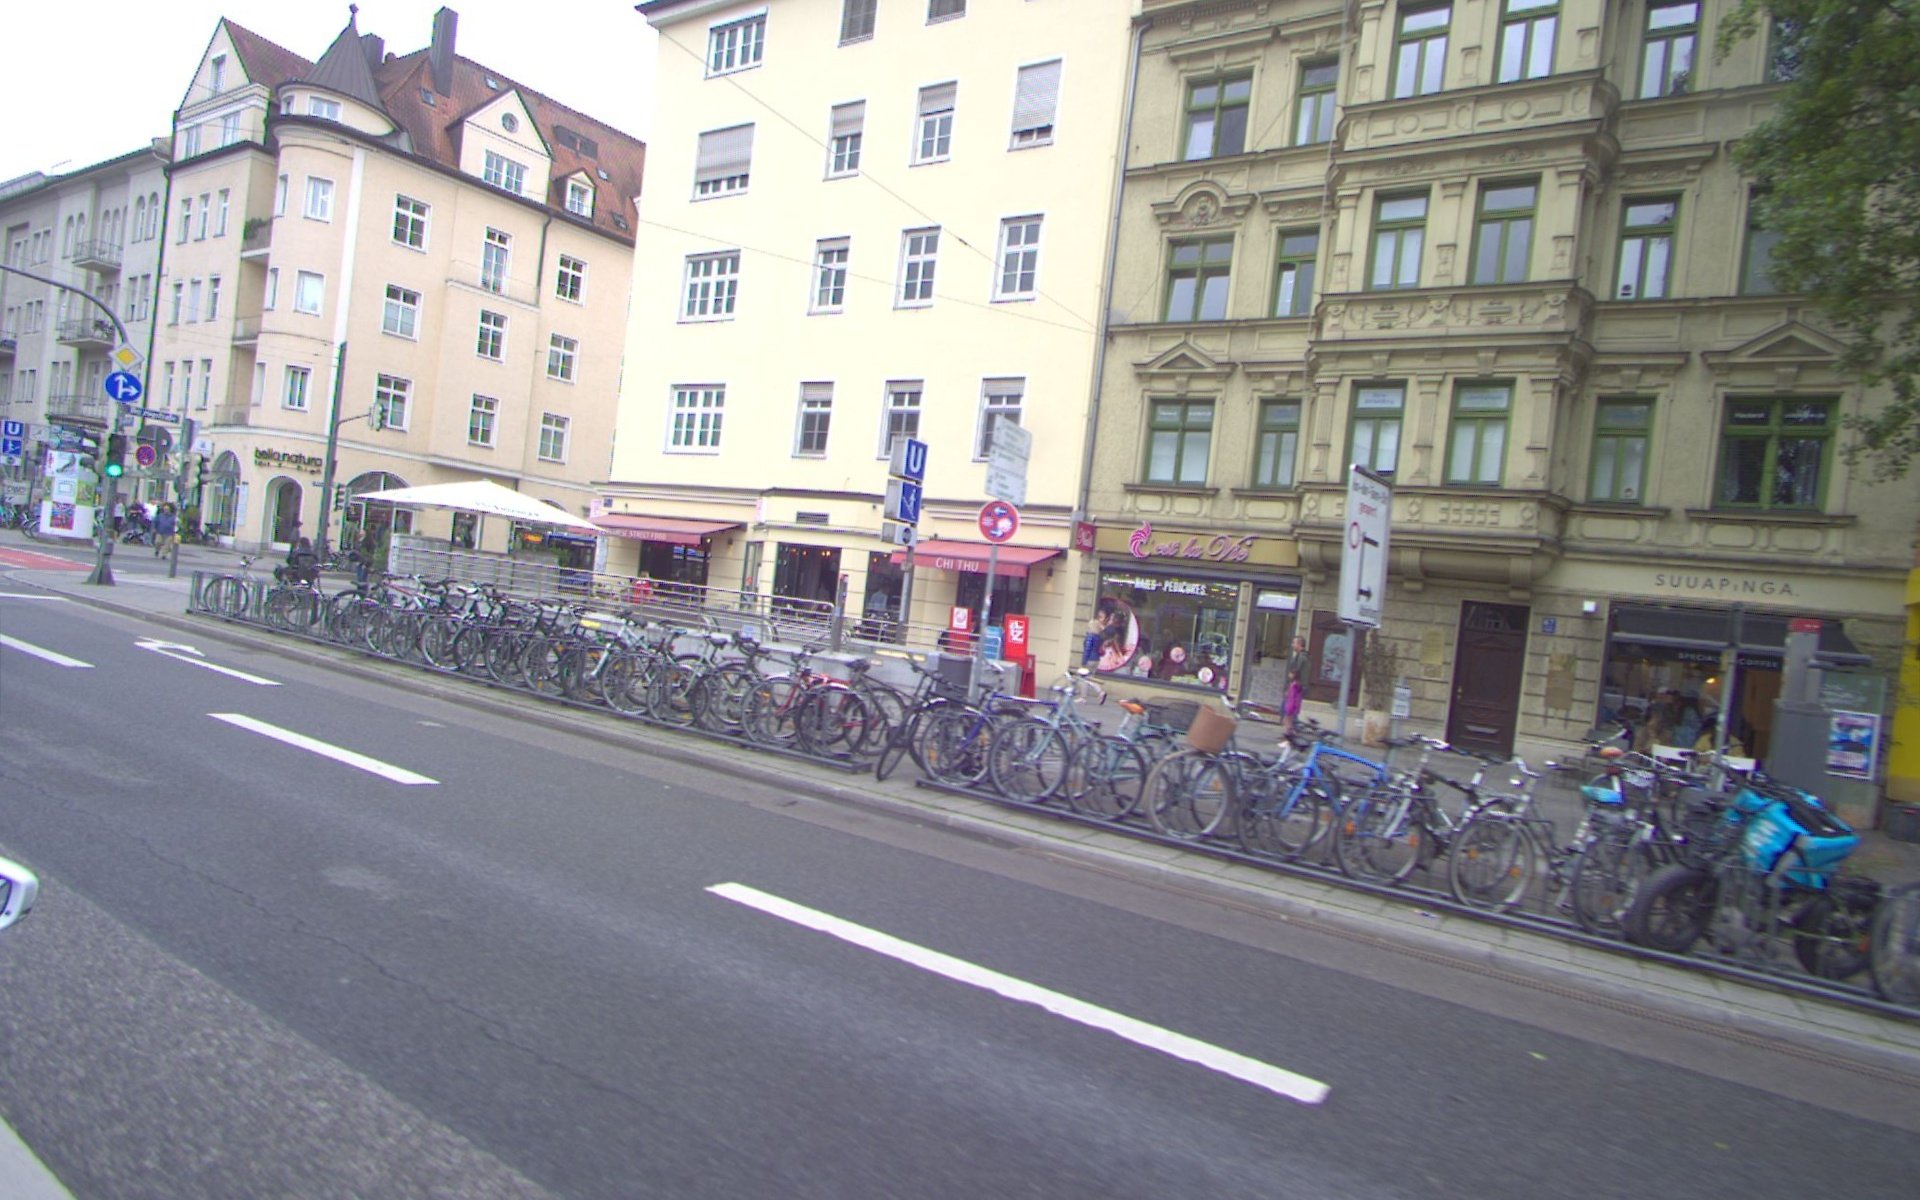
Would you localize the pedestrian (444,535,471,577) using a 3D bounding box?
[{"bbox_3d":[-22.379,-1.957,44.821,0.736,1.727,0.679,11,4,41],"label":"pedestrian"}]

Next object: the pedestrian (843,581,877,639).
[{"bbox_3d":[-2.554,0.265,25.693,0.481,1.414,0.509,7,1,37],"label":"pedestrian"}]

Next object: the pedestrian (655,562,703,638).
[{"bbox_3d":[-6.529,0.001,23.369,0.666,1.653,0.615,7,1,32],"label":"pedestrian"}]

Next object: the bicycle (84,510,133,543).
[{"bbox_3d":[-33.602,-2.916,39.685,1.831,1.072,0.496,7,1,17],"label":"bicycle"}]

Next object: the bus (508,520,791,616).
[{"bbox_3d":[-14.591,-1.375,49.163,2.776,3.004,13.536,9,1,42],"label":"bus"}]

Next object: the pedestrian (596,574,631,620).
[{"bbox_3d":[-9.862,-0.080,28.658,0.691,1.197,0.515,7,1,30],"label":"pedestrian"}]

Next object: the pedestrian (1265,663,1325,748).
[{"bbox_3d":[5.328,1.669,15.980,0.655,1.237,0.601,7,1,32],"label":"pedestrian"}]

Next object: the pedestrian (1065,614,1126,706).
[{"bbox_3d":[2.600,1.148,19.264,0.773,1.653,0.711,7,1,32],"label":"pedestrian"}]

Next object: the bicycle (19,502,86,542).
[{"bbox_3d":[-31.285,-2.679,34.687,0.516,1.175,1.568,9,2,35],"label":"bicycle"}]

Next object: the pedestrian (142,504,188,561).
[{"bbox_3d":[-26.931,-2.294,34.076,1.050,1.777,0.932,7,1,40],"label":"pedestrian"}]

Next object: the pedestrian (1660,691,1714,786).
[{"bbox_3d":[12.293,2.319,17.021,0.574,1.493,0.625,7,1,34],"label":"pedestrian"}]

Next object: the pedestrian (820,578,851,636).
[{"bbox_3d":[-3.219,0.183,26.024,0.542,1.414,0.543,7,1,5],"label":"pedestrian"}]

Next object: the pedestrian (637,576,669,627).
[{"bbox_3d":[-8.337,0.038,27.283,0.518,1.315,0.479,7,1,30],"label":"pedestrian"}]

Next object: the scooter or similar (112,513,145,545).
[{"bbox_3d":[-30.803,-2.634,37.271,0.815,1.007,0.587,7,3,-36],"label":"scooter or similar"}]

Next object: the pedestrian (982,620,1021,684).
[{"bbox_3d":[0.920,1.155,22.215,0.543,1.349,0.495,7,1,32],"label":"pedestrian"}]

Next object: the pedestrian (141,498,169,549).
[{"bbox_3d":[-30.170,-2.858,37.699,0.645,1.774,0.630,7,4,-36],"label":"pedestrian"}]

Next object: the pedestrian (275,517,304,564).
[{"bbox_3d":[-26.431,-2.359,39.656,0.678,1.707,0.737,6,4,-43],"label":"pedestrian"}]

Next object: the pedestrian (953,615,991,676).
[{"bbox_3d":[0.274,1.036,22.885,0.543,1.305,0.495,7,1,32],"label":"pedestrian"}]

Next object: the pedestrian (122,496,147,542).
[{"bbox_3d":[-31.285,-3.081,38.103,0.559,1.631,0.560,6,4,-45],"label":"pedestrian"}]

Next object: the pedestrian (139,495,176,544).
[{"bbox_3d":[-30.773,-3.066,38.572,0.720,1.727,0.645,9,3,2],"label":"pedestrian"}]

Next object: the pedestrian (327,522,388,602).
[{"bbox_3d":[-13.920,-0.861,23.271,0.753,1.716,0.761,7,1,7],"label":"pedestrian"}]

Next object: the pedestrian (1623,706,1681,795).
[{"bbox_3d":[10.928,2.362,15.903,0.573,1.296,0.584,7,1,31],"label":"pedestrian"}]

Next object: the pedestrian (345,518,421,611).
[{"bbox_3d":[-11.871,-0.720,20.723,0.842,1.765,0.884,7,1,15],"label":"pedestrian"}]

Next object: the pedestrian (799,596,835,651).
[{"bbox_3d":[-3.578,0.593,25.174,0.543,1.305,0.541,7,1,32],"label":"pedestrian"}]

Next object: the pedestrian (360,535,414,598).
[{"bbox_3d":[-15.385,-0.885,27.017,0.874,1.560,0.732,7,1,17],"label":"pedestrian"}]

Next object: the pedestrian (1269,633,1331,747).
[{"bbox_3d":[5.560,1.460,16.458,0.655,1.761,0.601,7,1,32],"label":"pedestrian"}]

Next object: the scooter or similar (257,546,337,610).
[{"bbox_3d":[-13.039,-0.437,19.778,1.235,1.088,0.776,7,1,30],"label":"scooter or similar"}]

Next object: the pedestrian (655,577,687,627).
[{"bbox_3d":[-8.021,0.057,27.922,0.518,1.315,0.479,7,1,30],"label":"pedestrian"}]

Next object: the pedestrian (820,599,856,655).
[{"bbox_3d":[-3.009,0.663,24.847,0.543,1.305,0.541,7,1,32],"label":"pedestrian"}]

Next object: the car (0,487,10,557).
[{"bbox_3d":[-10.780,-0.497,9.489,3.497,1.608,1.706,7,-2,32],"label":"car"}]

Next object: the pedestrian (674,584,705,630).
[{"bbox_3d":[-7.353,0.183,27.332,0.518,1.180,0.479,7,1,30],"label":"pedestrian"}]

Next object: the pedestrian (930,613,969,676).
[{"bbox_3d":[-0.228,0.989,22.199,0.543,1.305,0.495,7,1,32],"label":"pedestrian"}]

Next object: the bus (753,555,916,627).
[{"bbox_3d":[-7.013,-0.397,57.733,2.776,3.004,9.536,9,1,42],"label":"bus"}]

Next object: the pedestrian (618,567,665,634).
[{"bbox_3d":[-7.363,0.019,23.290,0.606,1.440,0.676,7,1,32],"label":"pedestrian"}]

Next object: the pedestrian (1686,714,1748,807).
[{"bbox_3d":[11.614,2.442,15.451,0.573,1.296,0.584,7,1,31],"label":"pedestrian"}]

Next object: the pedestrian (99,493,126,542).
[{"bbox_3d":[-31.555,-3.077,37.459,0.562,1.693,0.556,7,4,-36],"label":"pedestrian"}]

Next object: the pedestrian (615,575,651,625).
[{"bbox_3d":[-9.167,0.008,28.187,0.691,1.308,0.515,7,1,30],"label":"pedestrian"}]

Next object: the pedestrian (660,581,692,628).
[{"bbox_3d":[-7.567,0.132,26.843,0.518,1.180,0.479,7,1,30],"label":"pedestrian"}]
